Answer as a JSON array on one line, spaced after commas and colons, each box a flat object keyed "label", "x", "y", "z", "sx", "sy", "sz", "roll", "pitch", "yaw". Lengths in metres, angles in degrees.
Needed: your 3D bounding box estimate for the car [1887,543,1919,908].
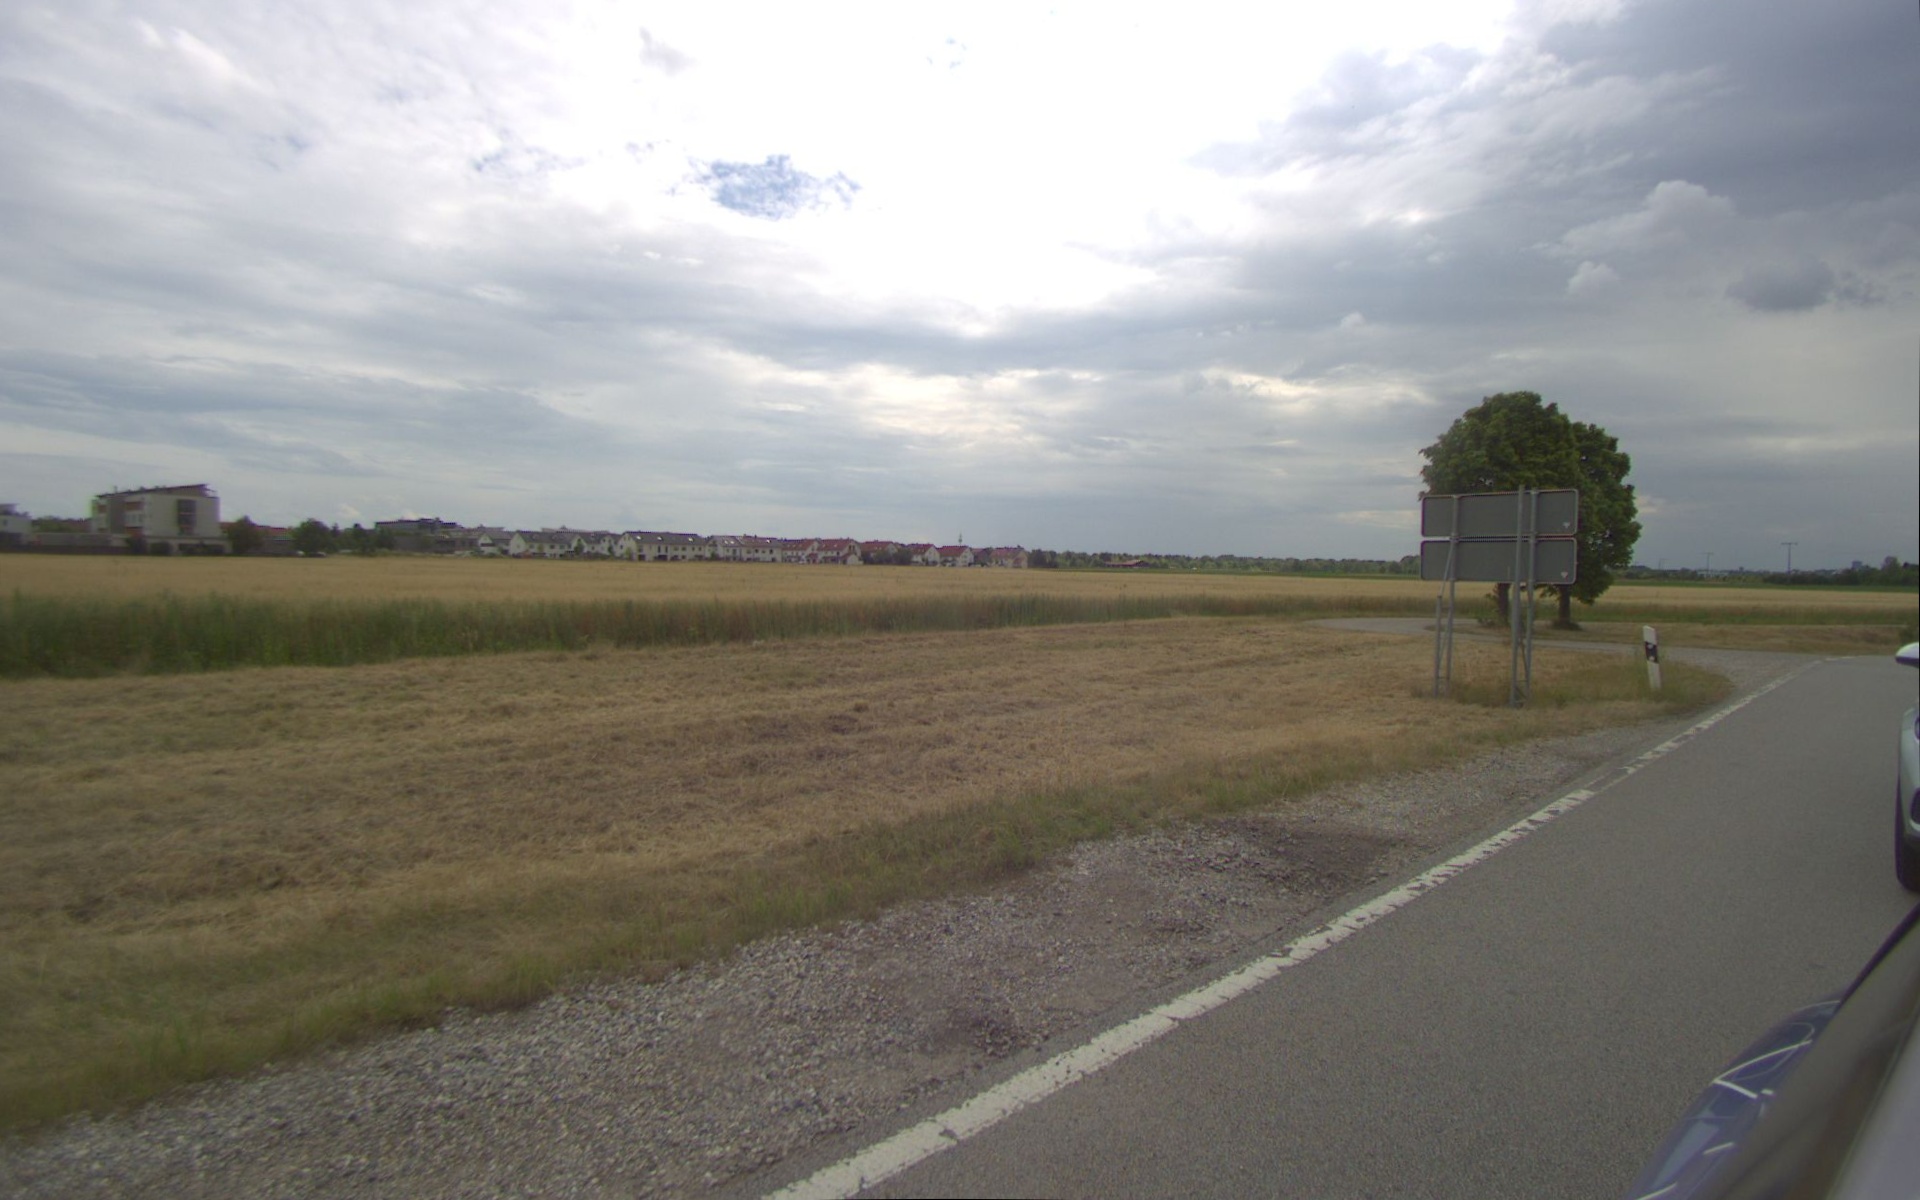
[{"label": "car", "x": 6.361, "y": 0.571, "z": 5.408, "sx": 4.378, "sy": 1.605, "sz": 1.833, "roll": -1, "pitch": 3, "yaw": -45}]
